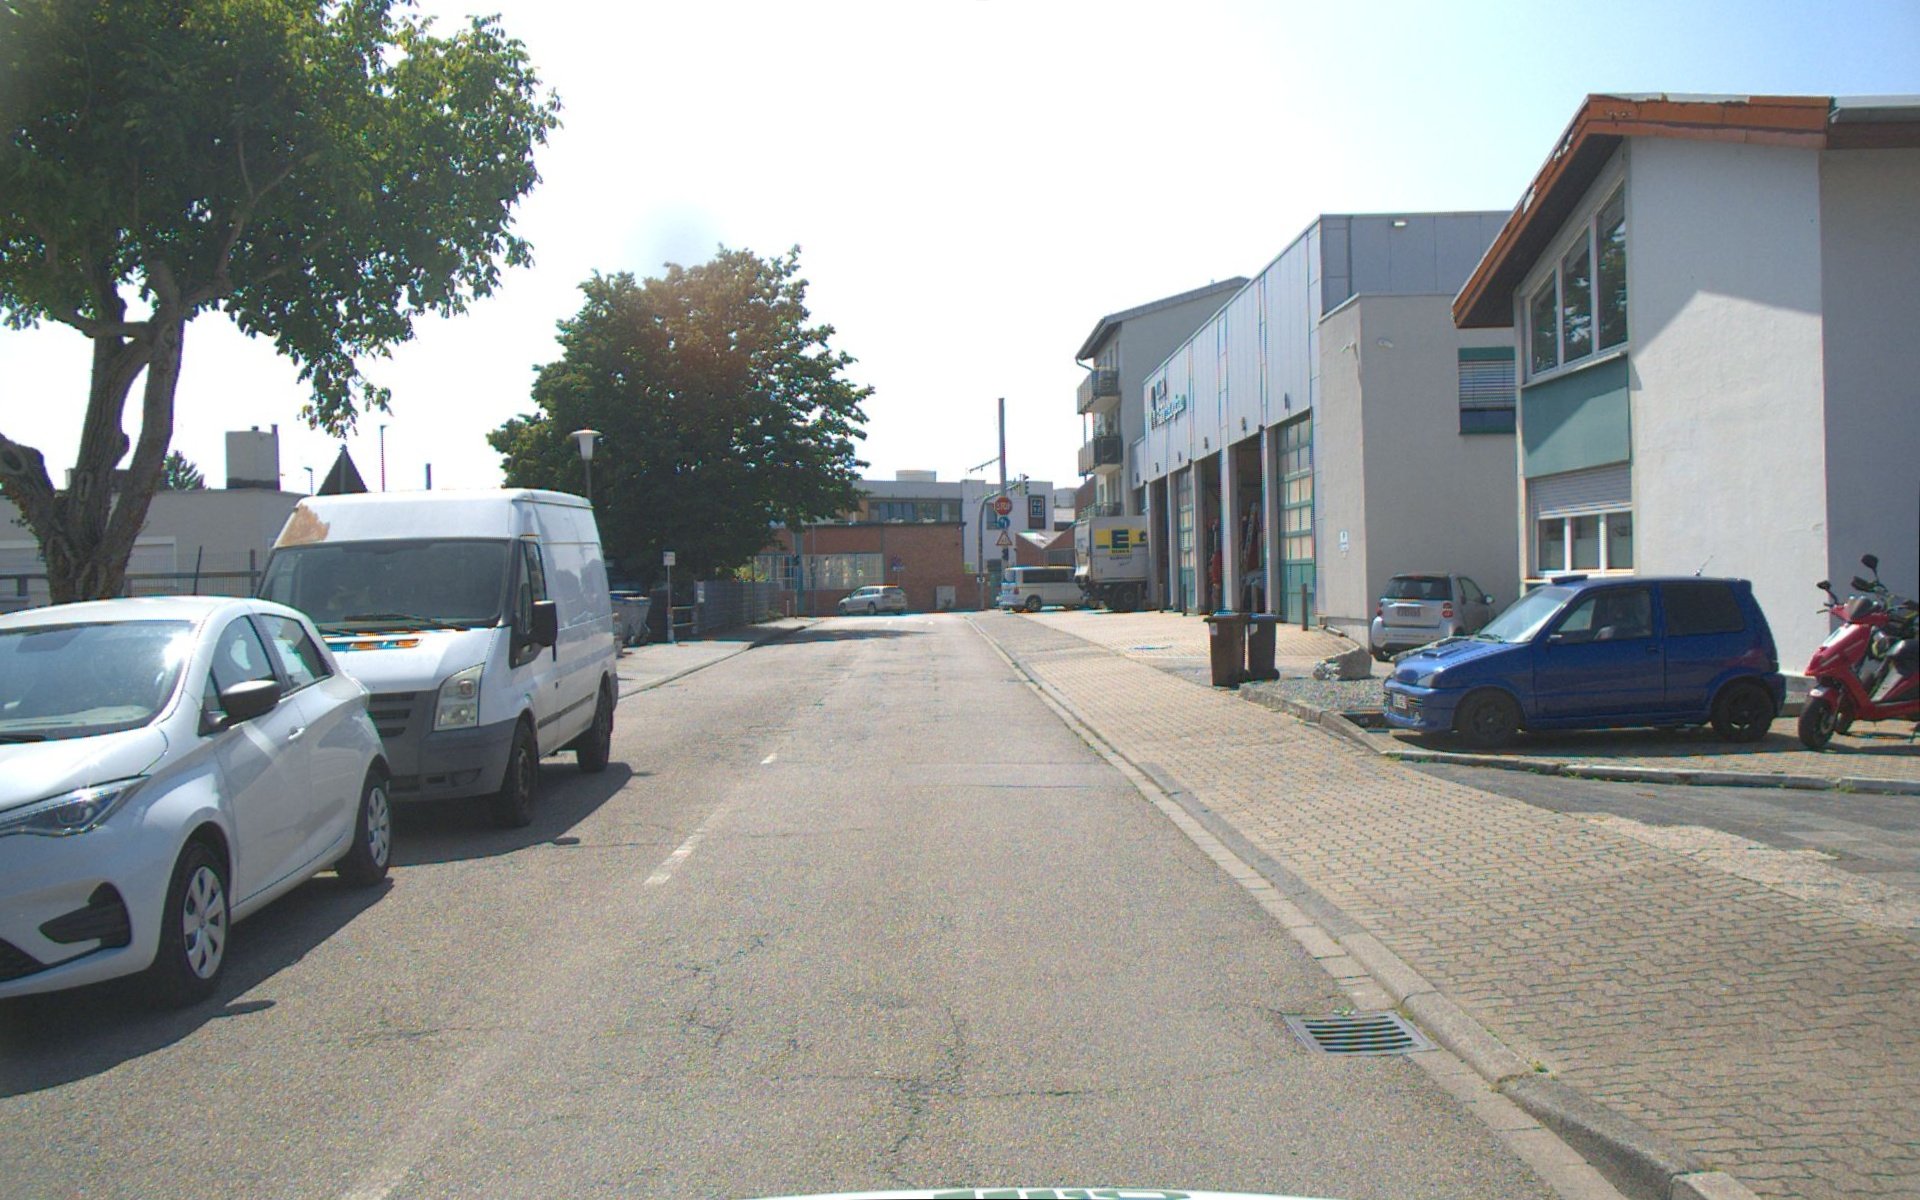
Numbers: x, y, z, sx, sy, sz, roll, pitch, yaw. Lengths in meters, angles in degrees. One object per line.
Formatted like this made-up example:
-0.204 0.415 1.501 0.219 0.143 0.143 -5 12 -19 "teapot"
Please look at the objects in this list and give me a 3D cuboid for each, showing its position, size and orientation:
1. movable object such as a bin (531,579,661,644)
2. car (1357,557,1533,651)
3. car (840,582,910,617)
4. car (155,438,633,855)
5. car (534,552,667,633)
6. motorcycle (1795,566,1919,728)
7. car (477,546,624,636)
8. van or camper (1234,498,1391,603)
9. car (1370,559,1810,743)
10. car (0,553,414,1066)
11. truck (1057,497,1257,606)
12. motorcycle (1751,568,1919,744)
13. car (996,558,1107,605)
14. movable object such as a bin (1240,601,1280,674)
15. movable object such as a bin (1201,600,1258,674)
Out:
-9.449 0.280 43.159 2.571 1.536 2.730 -2 1 4 "movable object such as a bin"
8.954 0.050 30.369 1.746 1.566 3.684 -2 1 40 "car"
-4.387 -0.061 85.174 1.874 1.714 3.912 0 1 -34 "car"
-3.925 0.251 12.604 1.965 2.407 5.226 -3 1 -3 "car"
-11.930 -0.269 55.066 4.004 2.557 1.776 -2 1 -3 "car"
8.279 0.366 14.298 1.718 1.301 0.795 -3 0 -10 "motorcycle"
-12.394 -0.278 50.229 4.004 2.557 1.776 -2 1 -3 "car"
11.713 -1.636 55.137 4.663 3.346 1.998 -2 1 -5 "van or camper"
5.419 0.408 14.502 3.187 1.423 1.673 -2 0 -1 "car"
-3.770 0.710 7.316 1.672 1.652 3.968 -3 0 -6 "car"
7.783 -1.909 65.794 7.221 3.708 2.763 -5 1 -7 "truck"
7.484 0.416 13.300 1.832 1.301 0.796 -3 0 -4 "motorcycle"
4.092 -0.840 74.111 4.586 1.992 1.905 -2 1 -20 "car"
4.080 0.503 22.511 0.502 0.962 0.488 -2 1 10 "movable object such as a bin"
3.605 0.493 22.088 0.557 0.962 0.556 -2 1 32 "movable object such as a bin"
